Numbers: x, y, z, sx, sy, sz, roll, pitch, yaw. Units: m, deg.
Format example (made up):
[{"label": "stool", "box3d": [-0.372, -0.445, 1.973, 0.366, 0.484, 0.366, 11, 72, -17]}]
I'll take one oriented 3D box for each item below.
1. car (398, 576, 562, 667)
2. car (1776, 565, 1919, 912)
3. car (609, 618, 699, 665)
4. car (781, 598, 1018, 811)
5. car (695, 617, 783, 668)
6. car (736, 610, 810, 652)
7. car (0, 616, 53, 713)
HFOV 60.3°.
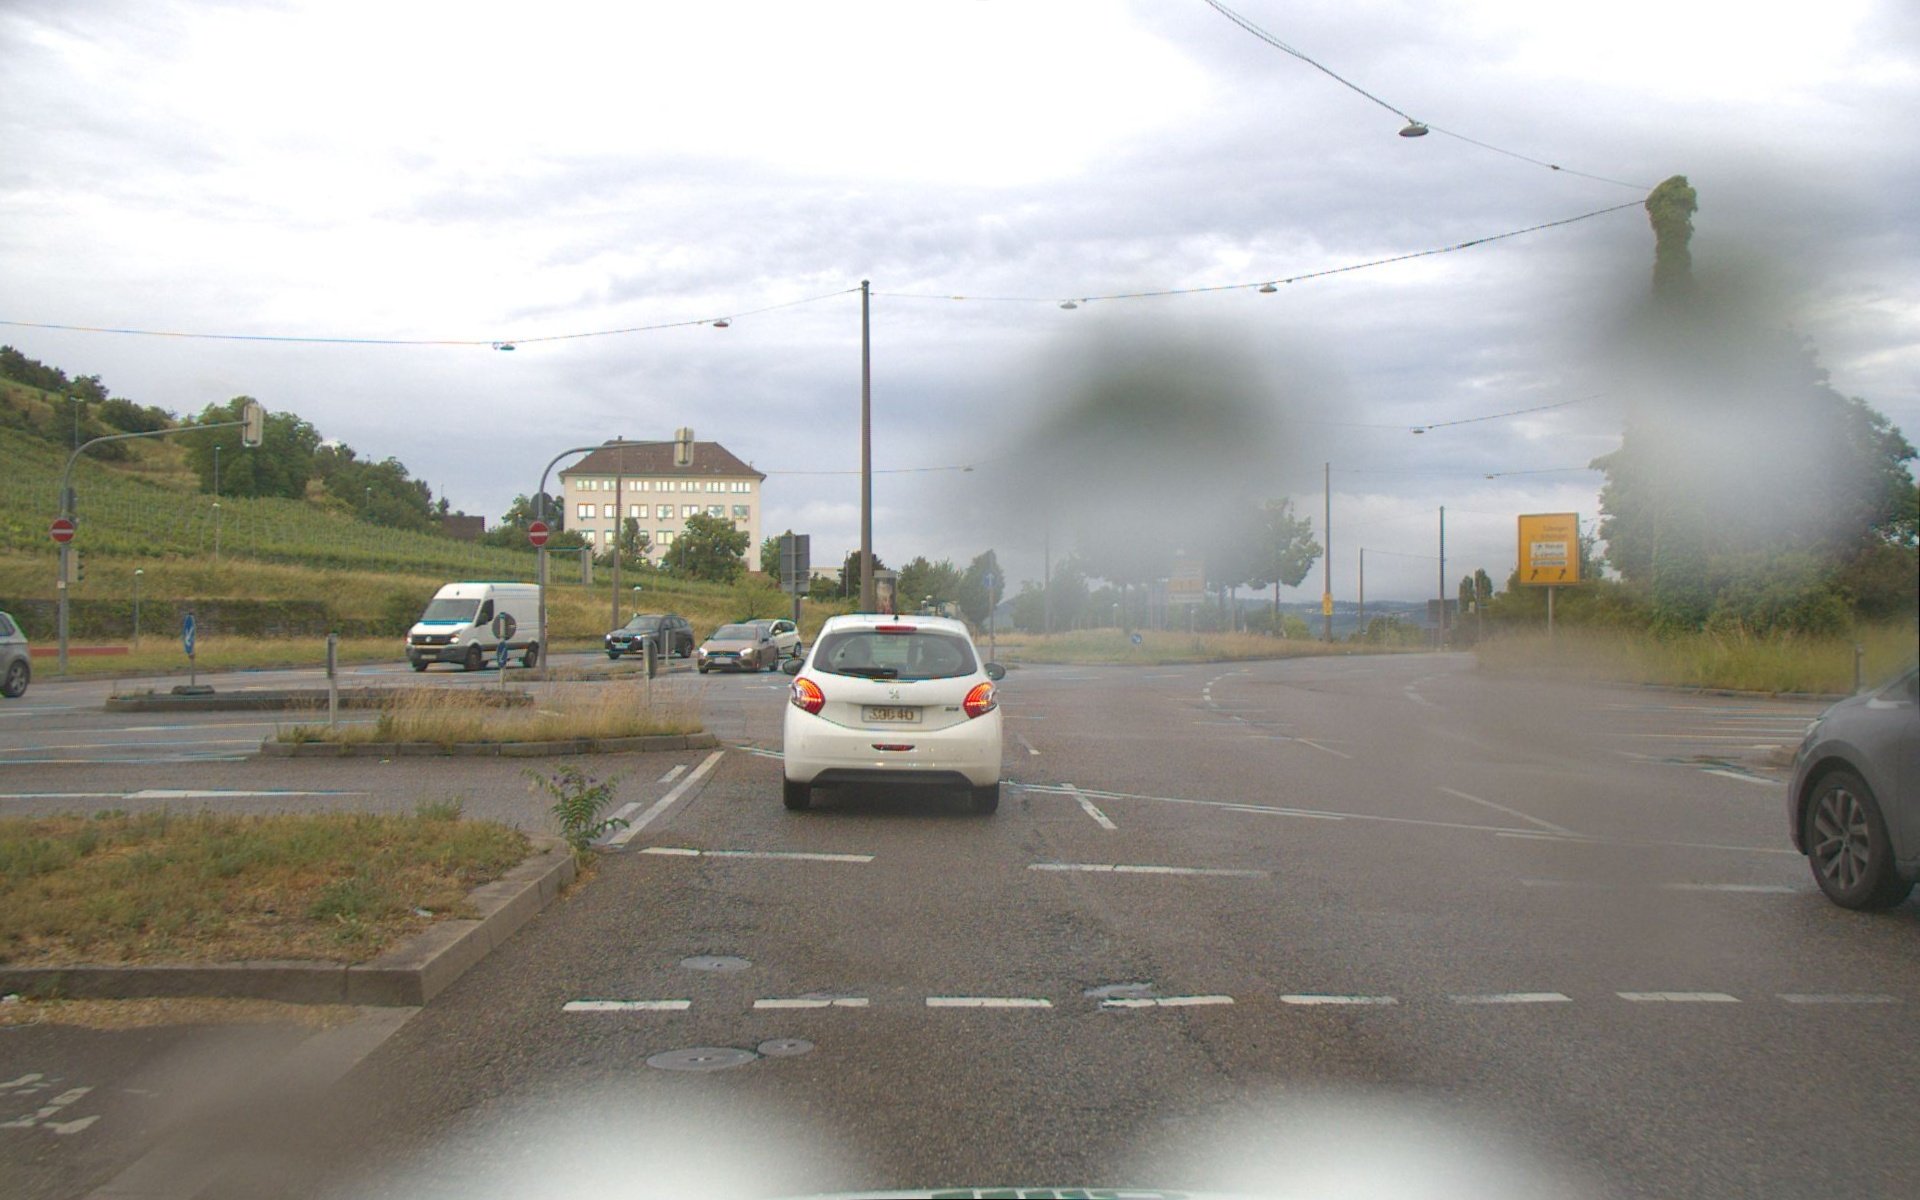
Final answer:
[{"label": "car", "box3d": [-14.769, 0.687, 51.323, 1.951, 2.604, 6.174, 1, -1, 14]}, {"label": "car", "box3d": [5.671, 0.695, 7.238, 1.827, 1.703, 4.563, 1, 0, -2]}, {"label": "car", "box3d": [-11.564, 1.586, 62.804, 1.738, 1.665, 4.512, 1, -1, 11]}, {"label": "car", "box3d": [-0.472, 0.784, 13.859, 1.683, 1.515, 3.999, 1, -1, -1]}, {"label": "car", "box3d": [-6.568, 1.274, 49.628, 1.738, 1.450, 4.376, -1, -1, 4]}, {"label": "car", "box3d": [-7.282, 1.225, 64.669, 1.713, 1.539, 4.003, 1, -1, 11]}, {"label": "car", "box3d": [-17.050, 1.052, 27.113, 1.952, 1.603, 4.195, 2, -1, 0]}]
